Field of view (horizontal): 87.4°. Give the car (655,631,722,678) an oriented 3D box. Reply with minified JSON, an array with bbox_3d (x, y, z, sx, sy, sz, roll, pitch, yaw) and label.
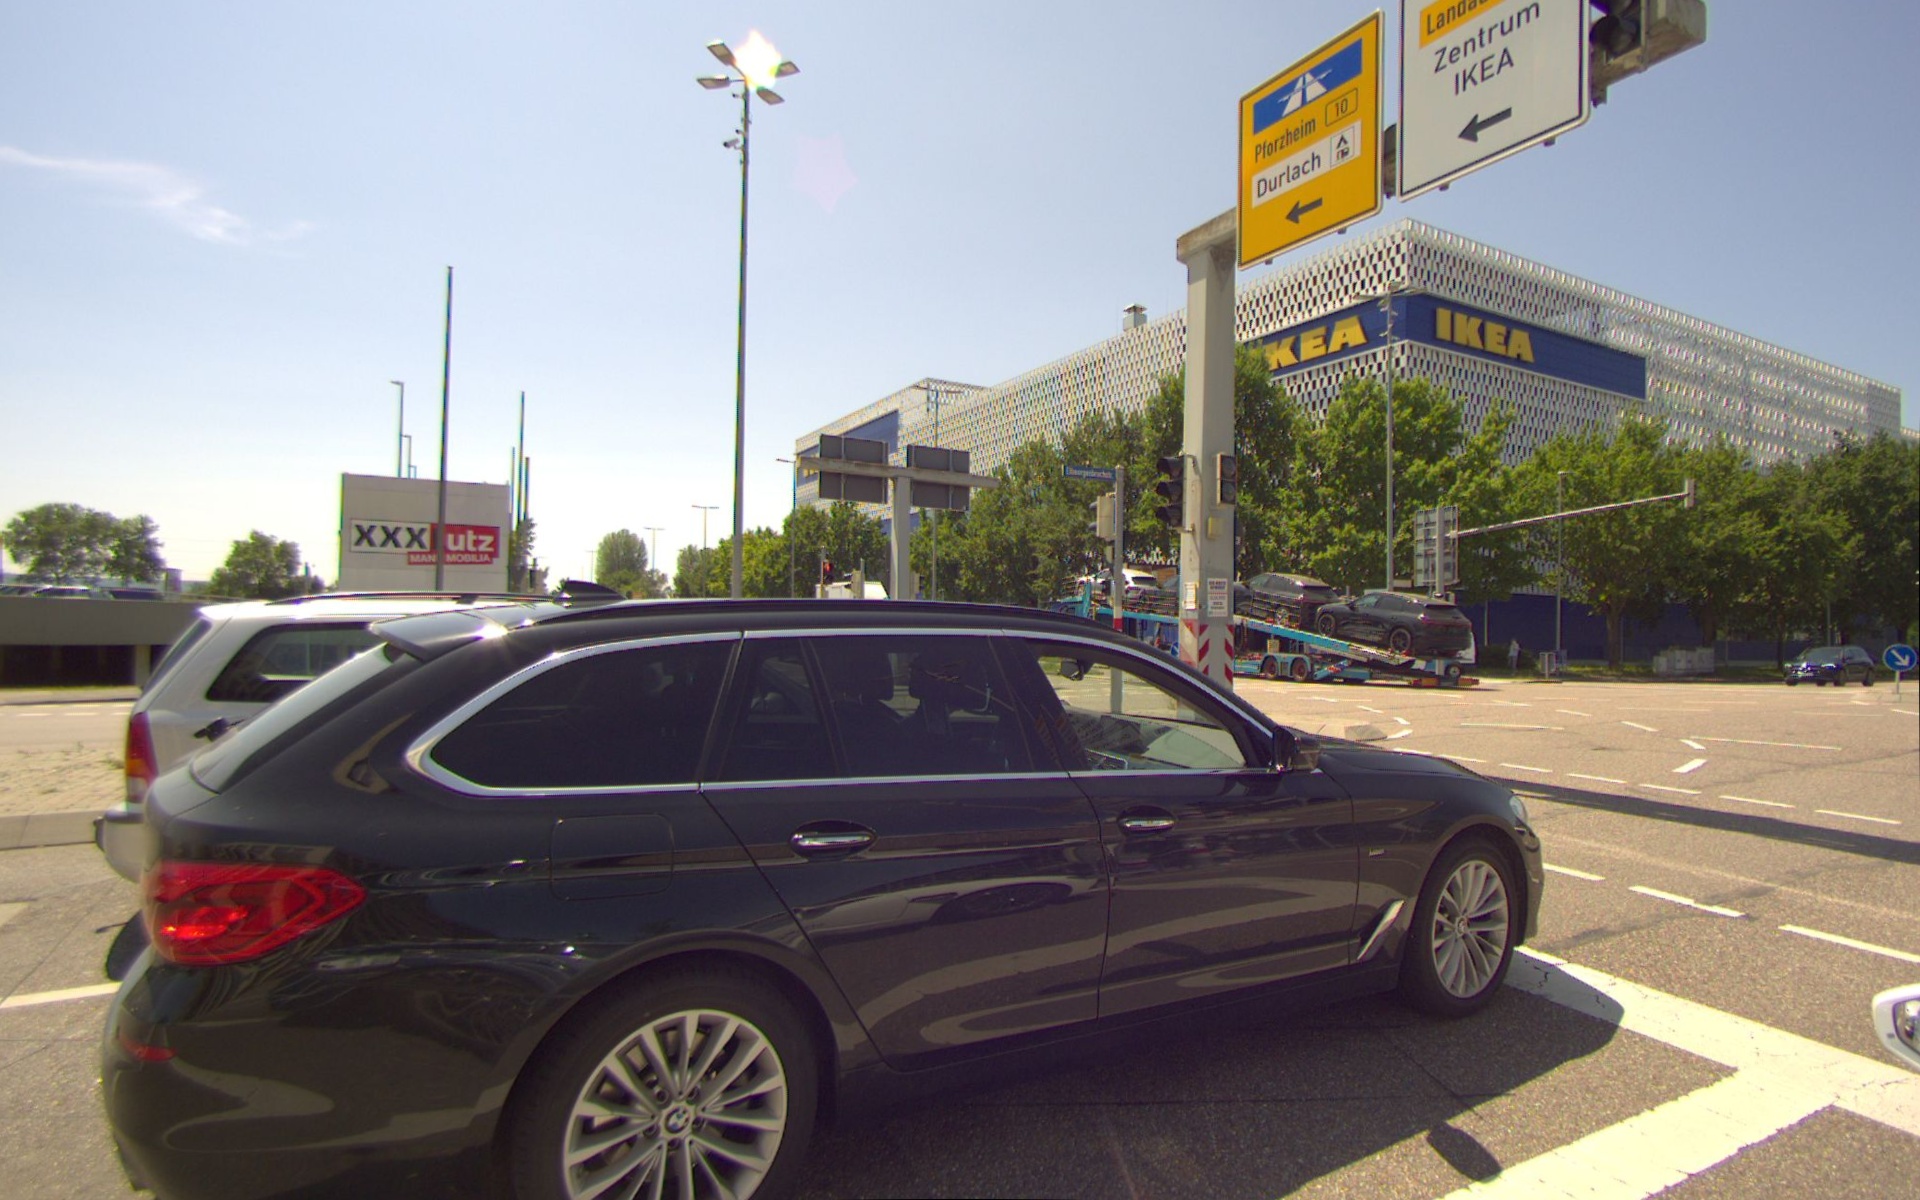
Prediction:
[{"bbox_3d":[-9.482,1.853,34.900,1.904,1.528,3.983,1,-2,-20],"label":"car"}]

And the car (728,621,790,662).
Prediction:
[{"bbox_3d":[-10.646,2.180,52.970,1.975,2.040,4.681,2,-2,-27],"label":"car"}]

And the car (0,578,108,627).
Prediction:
[{"bbox_3d":[-39.070,0.131,42.718,3.953,1.957,1.984,2,-2,-30],"label":"car"}]

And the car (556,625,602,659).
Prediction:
[{"bbox_3d":[-23.973,2.626,63.163,1.815,2.040,3.963,2,-2,-34],"label":"car"}]

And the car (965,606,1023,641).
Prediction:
[{"bbox_3d":[2.100,1.450,63.002,1.975,2.040,3.972,2,-1,-27],"label":"car"}]

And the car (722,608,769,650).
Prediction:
[{"bbox_3d":[-14.229,1.891,66.483,2.032,2.665,4.652,0,-2,-26],"label":"car"}]

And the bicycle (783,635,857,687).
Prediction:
[{"bbox_3d":[-3.508,1.499,25.073,0.987,1.229,2.079,2,-2,-35],"label":"bicycle"}]

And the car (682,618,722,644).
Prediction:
[{"bbox_3d":[-20.166,2.380,78.267,1.975,1.930,4.778,1,-2,-28],"label":"car"}]

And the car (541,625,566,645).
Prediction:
[{"bbox_3d":[-36.476,3.131,90.025,1.718,1.708,3.642,2,-2,-28],"label":"car"}]

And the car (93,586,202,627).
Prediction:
[{"bbox_3d":[-40.514,0.369,50.231,3.956,1.933,1.983,2,-2,-32],"label":"car"}]

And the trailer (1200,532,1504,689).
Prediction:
[{"bbox_3d":[11.722,0.445,31.503,3.051,4.135,9.591,1,-2,-23],"label":"trailer"}]

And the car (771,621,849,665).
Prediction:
[{"bbox_3d":[-6.806,1.889,44.998,1.973,1.835,5.438,2,-2,-25],"label":"car"}]

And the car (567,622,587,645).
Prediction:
[{"bbox_3d":[-34.713,3.004,91.086,1.595,2.040,3.863,1,-2,-20],"label":"car"}]

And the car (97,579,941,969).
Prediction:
[{"bbox_3d":[-2.245,0.732,5.802,3.961,1.514,1.785,2,-1,-36],"label":"car"}]

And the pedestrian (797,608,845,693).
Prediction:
[{"bbox_3d":[-3.453,1.248,24.994,0.856,2.040,0.899,2,-2,-35],"label":"pedestrian"}]

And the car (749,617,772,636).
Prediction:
[{"bbox_3d":[-21.705,2.893,109.281,1.858,2.040,3.983,2,-2,-19],"label":"car"}]

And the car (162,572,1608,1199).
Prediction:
[{"bbox_3d":[0.192,0.751,3.618,4.570,1.485,1.791,2,-1,-31],"label":"car"}]

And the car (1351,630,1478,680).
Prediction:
[{"bbox_3d":[19.804,2.386,43.938,4.669,2.034,2.001,1,-2,2],"label":"car"}]

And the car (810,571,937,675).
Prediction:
[{"bbox_3d":[-3.396,0.840,37.570,2.156,3.532,6.875,0,-1,-28],"label":"car"}]

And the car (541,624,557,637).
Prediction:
[{"bbox_3d":[-65.478,4.910,160.050,1.906,2.040,3.971,2,-2,-28],"label":"car"}]

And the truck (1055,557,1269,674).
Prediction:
[{"bbox_3d":[7.757,0.731,40.813,3.057,4.136,10.594,1,-2,-23],"label":"truck"}]

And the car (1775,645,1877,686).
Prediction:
[{"bbox_3d":[35.835,2.706,41.564,4.444,1.619,1.866,2,-3,-30],"label":"car"}]

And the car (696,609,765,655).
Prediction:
[{"bbox_3d":[-13.791,1.915,60.052,2.542,2.568,6.587,2,-2,-26],"label":"car"}]

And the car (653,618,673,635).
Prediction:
[{"bbox_3d":[-37.786,3.352,127.777,1.971,2.040,3.979,2,-3,-22],"label":"car"}]

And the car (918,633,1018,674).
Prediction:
[{"bbox_3d":[0.227,1.905,36.645,1.756,1.360,4.262,1,-2,-30],"label":"car"}]
